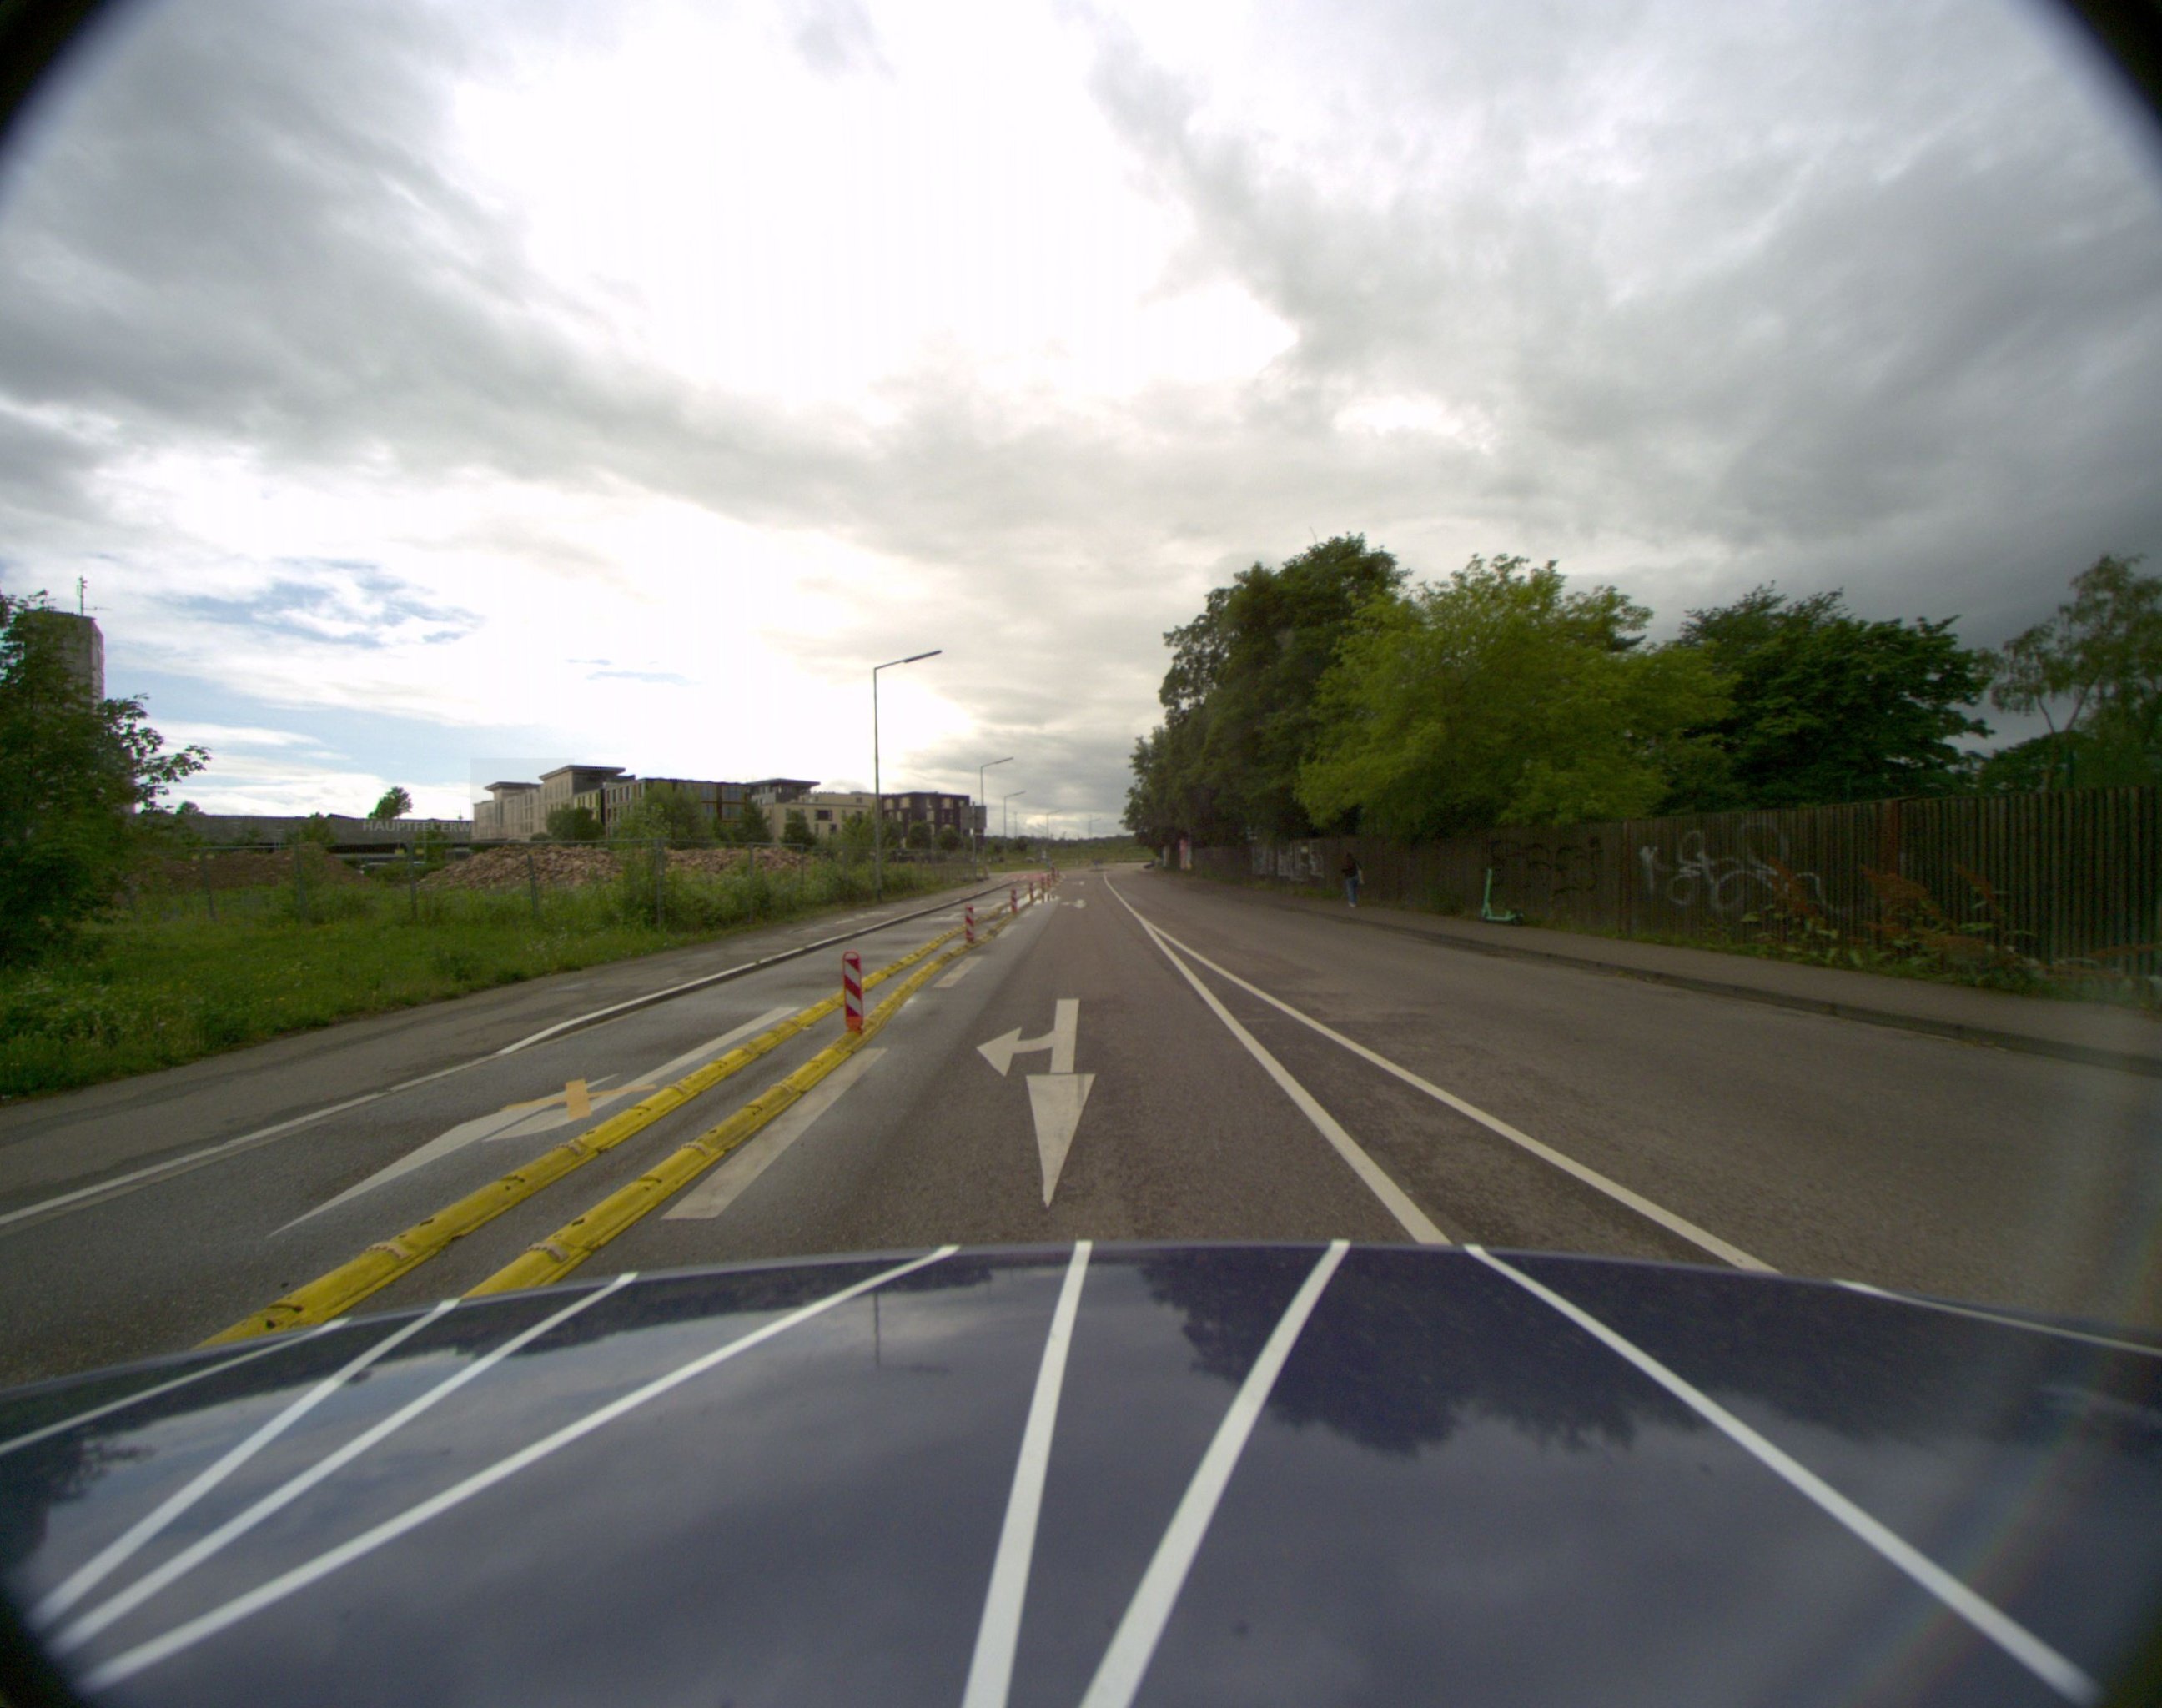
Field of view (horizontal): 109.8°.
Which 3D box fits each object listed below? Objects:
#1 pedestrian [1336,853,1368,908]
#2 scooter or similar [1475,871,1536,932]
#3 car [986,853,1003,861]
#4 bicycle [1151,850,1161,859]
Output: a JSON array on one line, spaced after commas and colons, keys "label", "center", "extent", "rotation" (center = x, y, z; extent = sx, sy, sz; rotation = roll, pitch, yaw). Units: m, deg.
[{"label": "pedestrian", "center": [7.690, 0.745, 21.586], "extent": [0.614, 1.520, 0.724], "rotation": [-1, 1, -4]}, {"label": "scooter or similar", "center": [8.617, 0.945, 15.454], "extent": [0.424, 1.164, 1.303], "rotation": [-1, 0, -5]}, {"label": "car", "center": [-21.540, 0.654, 189.075], "extent": [1.994, 2.002, 4.008], "rotation": [0, 0, 42]}, {"label": "bicycle", "center": [9.174, 0.035, 93.243], "extent": [0.582, 0.992, 1.773], "rotation": [-3, 0, 28]}]
